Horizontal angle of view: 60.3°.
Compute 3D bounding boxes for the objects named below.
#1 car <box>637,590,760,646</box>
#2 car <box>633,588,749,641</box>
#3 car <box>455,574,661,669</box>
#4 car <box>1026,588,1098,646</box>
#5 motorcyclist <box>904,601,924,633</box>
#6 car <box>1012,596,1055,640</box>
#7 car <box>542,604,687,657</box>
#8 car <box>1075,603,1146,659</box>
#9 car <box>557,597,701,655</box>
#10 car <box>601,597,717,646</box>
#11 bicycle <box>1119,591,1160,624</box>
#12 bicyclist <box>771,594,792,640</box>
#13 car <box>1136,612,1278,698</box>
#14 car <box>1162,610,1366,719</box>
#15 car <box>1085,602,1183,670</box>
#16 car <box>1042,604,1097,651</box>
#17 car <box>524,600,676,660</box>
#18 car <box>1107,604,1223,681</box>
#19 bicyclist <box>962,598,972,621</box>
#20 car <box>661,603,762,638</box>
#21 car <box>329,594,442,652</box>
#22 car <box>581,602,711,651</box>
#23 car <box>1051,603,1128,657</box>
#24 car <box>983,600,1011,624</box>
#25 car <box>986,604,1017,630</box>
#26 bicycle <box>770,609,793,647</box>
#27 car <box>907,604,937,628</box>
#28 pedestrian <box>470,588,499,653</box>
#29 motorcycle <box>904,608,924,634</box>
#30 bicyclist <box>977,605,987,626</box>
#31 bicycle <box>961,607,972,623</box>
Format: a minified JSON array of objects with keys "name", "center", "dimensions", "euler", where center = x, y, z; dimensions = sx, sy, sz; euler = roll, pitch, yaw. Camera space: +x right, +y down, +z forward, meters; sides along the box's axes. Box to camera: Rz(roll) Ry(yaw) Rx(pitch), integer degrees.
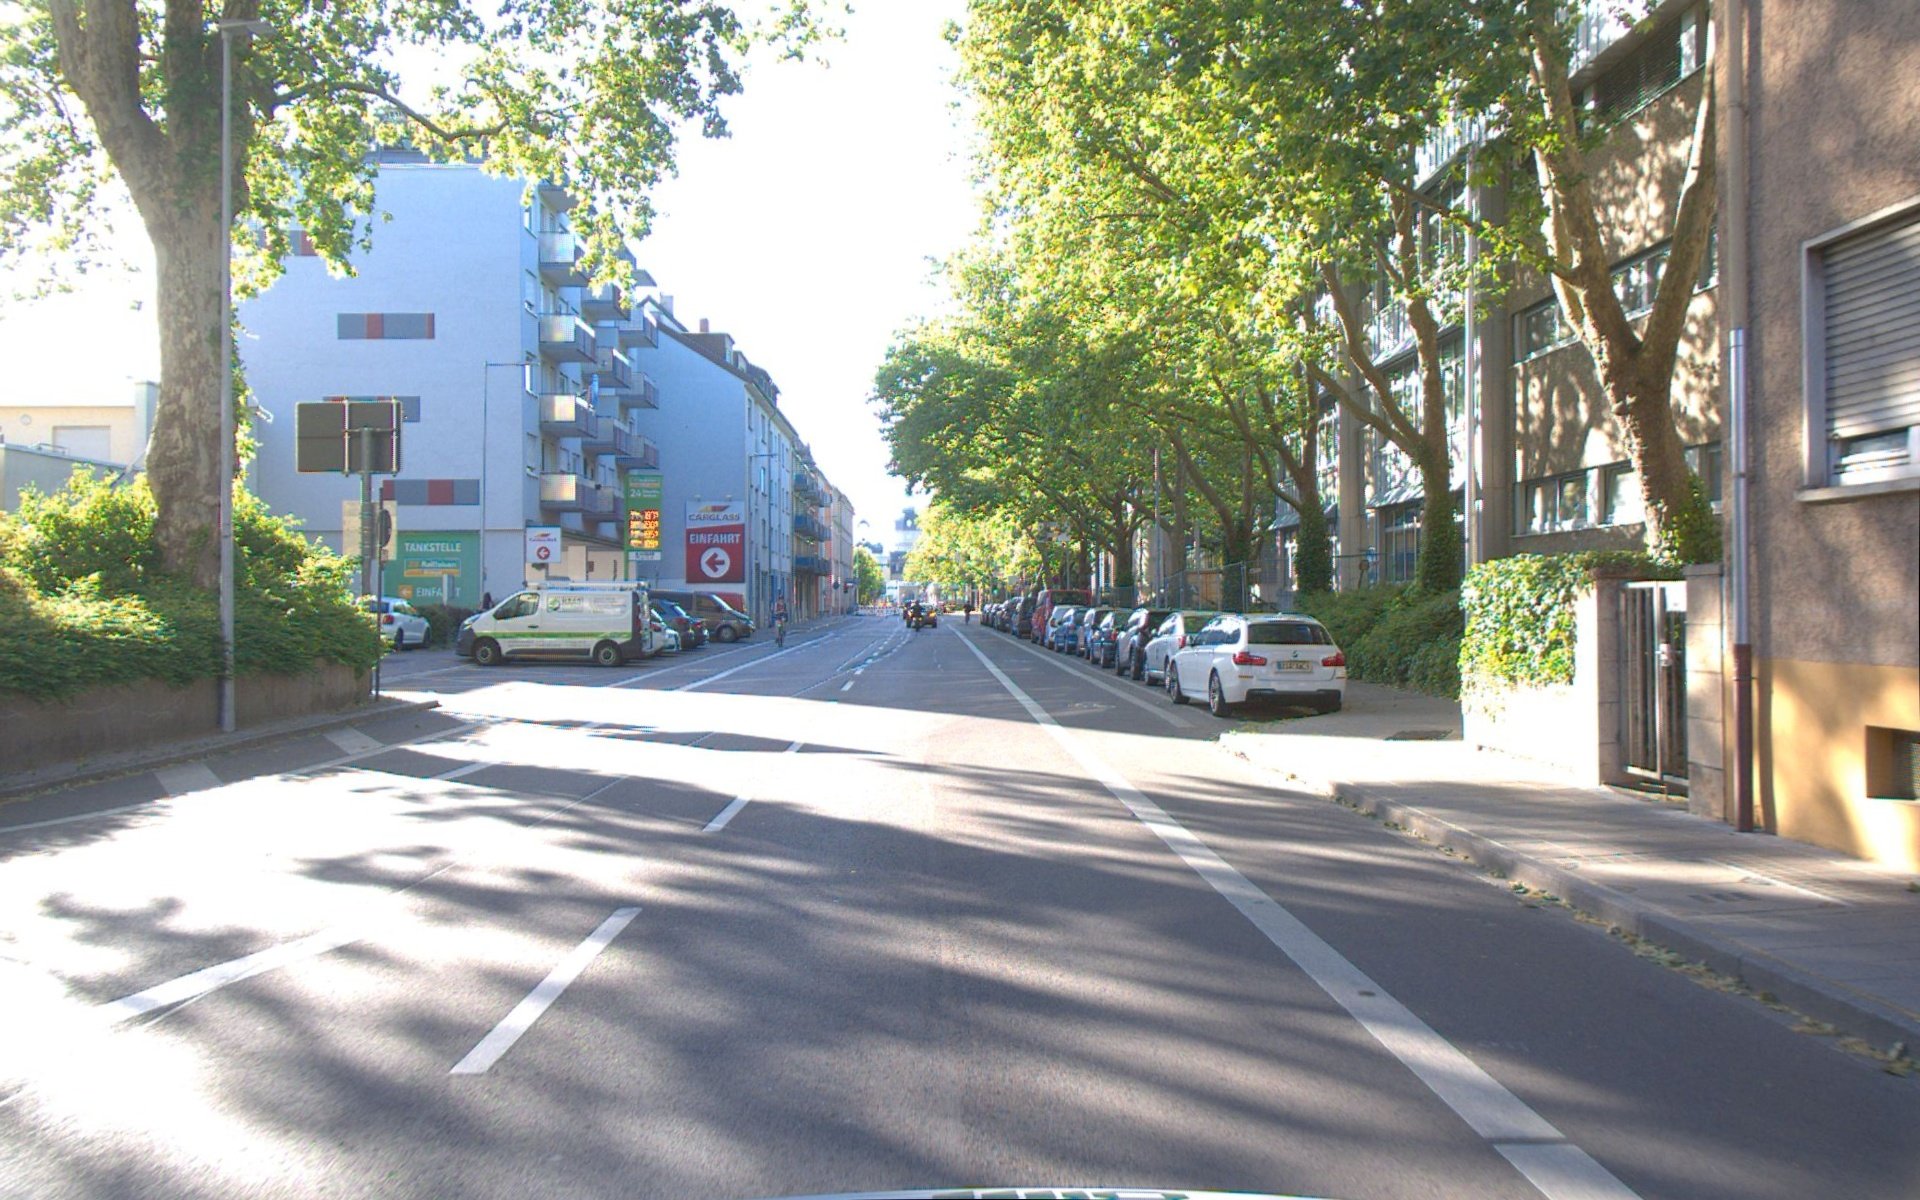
[{"name":"car","center":[-10.235,0.690,64.965],"dimensions":[4.431,1.986,2.056],"euler":[2,0,-2]},{"name":"car","center":[-10.961,0.585,67.682],"dimensions":[4.332,1.986,2.145],"euler":[2,0,-2]},{"name":"car","center":[-10.274,0.536,42.586],"dimensions":[4.746,2.255,2.139],"euler":[2,0,-2]},{"name":"car","center":[3.767,0.621,61.853],"dimensions":[2.037,2.029,5.168],"euler":[2,0,-3]},{"name":"motorcyclist","center":[-2.388,0.881,85.821],"dimensions":[0.992,1.630,1.405],"euler":[0,0,-2]},{"name":"car","center":[3.243,0.782,73.216],"dimensions":[1.658,1.844,4.129],"euler":[2,0,0]},{"name":"car","center":[-10.219,0.887,49.168],"dimensions":[3.906,1.458,1.852],"euler":[1,0,-2]},{"name":"car","center":[4.342,0.879,48.089],"dimensions":[1.581,1.501,3.491],"euler":[2,0,-2]},{"name":"car","center":[-10.346,0.813,51.908],"dimensions":[4.109,1.713,2.027],"euler":[1,0,-2]},{"name":"car","center":[-10.319,0.744,56.900],"dimensions":[3.611,1.540,1.830],"euler":[2,0,-2]},{"name":"bicycle","center":[11.425,0.476,105.302],"dimensions":[2.545,2.049,0.742],"euler":[0,0,-2]},{"name":"bicyclist","center":[-6.301,0.599,58.451],"dimensions":[0.594,1.572,0.934],"euler":[-2,0,-2]},{"name":"car","center":[4.580,0.977,31.282],"dimensions":[1.818,1.462,4.600],"euler":[1,0,-2]},{"name":"car","center":[4.479,0.902,25.170],"dimensions":[1.819,1.462,4.965],"euler":[1,0,-5]},{"name":"car","center":[4.361,0.869,42.050],"dimensions":[1.818,1.549,4.597],"euler":[2,0,-2]},{"name":"car","center":[3.745,0.915,56.820],"dimensions":[1.604,1.511,3.759],"euler":[2,0,0]},{"name":"car","center":[-10.208,0.849,47.130],"dimensions":[3.906,1.586,1.852],"euler":[1,0,-2]},{"name":"car","center":[4.393,0.880,36.019],"dimensions":[1.818,1.549,4.295],"euler":[1,0,-2]},{"name":"bicyclist","center":[0.474,0.630,114.236],"dimensions":[0.643,1.557,0.851],"euler":[1,-1,-2]},{"name":"car","center":[-10.942,0.910,73.145],"dimensions":[4.143,1.404,2.045],"euler":[2,-1,-2]},{"name":"car","center":[-15.822,0.610,45.760],"dimensions":[1.753,1.489,3.999],"euler":[2,0,-2]},{"name":"car","center":[-10.311,0.859,54.477],"dimensions":[3.906,1.481,1.915],"euler":[1,0,-2]},{"name":"car","center":[4.068,0.929,52.477],"dimensions":[1.819,1.537,3.926],"euler":[2,0,-4]},{"name":"car","center":[2.429,0.795,110.004],"dimensions":[1.658,1.492,4.065],"euler":[2,0,-1]},{"name":"car","center":[2.601,1.058,104.328],"dimensions":[1.659,1.505,4.317],"euler":[2,0,-1]},{"name":"bicycle","center":[-6.265,0.987,58.138],"dimensions":[0.594,1.261,2.049],"euler":[-2,0,-2]},{"name":"car","center":[-2.308,0.960,99.500],"dimensions":[1.791,1.445,3.813],"euler":[0,0,-2]},{"name":"pedestrian","center":[-13.403,0.574,46.657],"dimensions":[0.618,1.820,0.722],"euler":[0,0,-2]},{"name":"motorcycle","center":[-2.393,1.060,85.714],"dimensions":[0.992,1.329,2.671],"euler":[0,0,-2]},{"name":"bicyclist","center":[1.624,1.127,122.373],"dimensions":[0.643,1.557,0.906],"euler":[1,-1,-2]},{"name":"bicycle","center":[0.463,1.048,114.276],"dimensions":[0.643,1.089,1.926],"euler":[1,-1,-2]}]
